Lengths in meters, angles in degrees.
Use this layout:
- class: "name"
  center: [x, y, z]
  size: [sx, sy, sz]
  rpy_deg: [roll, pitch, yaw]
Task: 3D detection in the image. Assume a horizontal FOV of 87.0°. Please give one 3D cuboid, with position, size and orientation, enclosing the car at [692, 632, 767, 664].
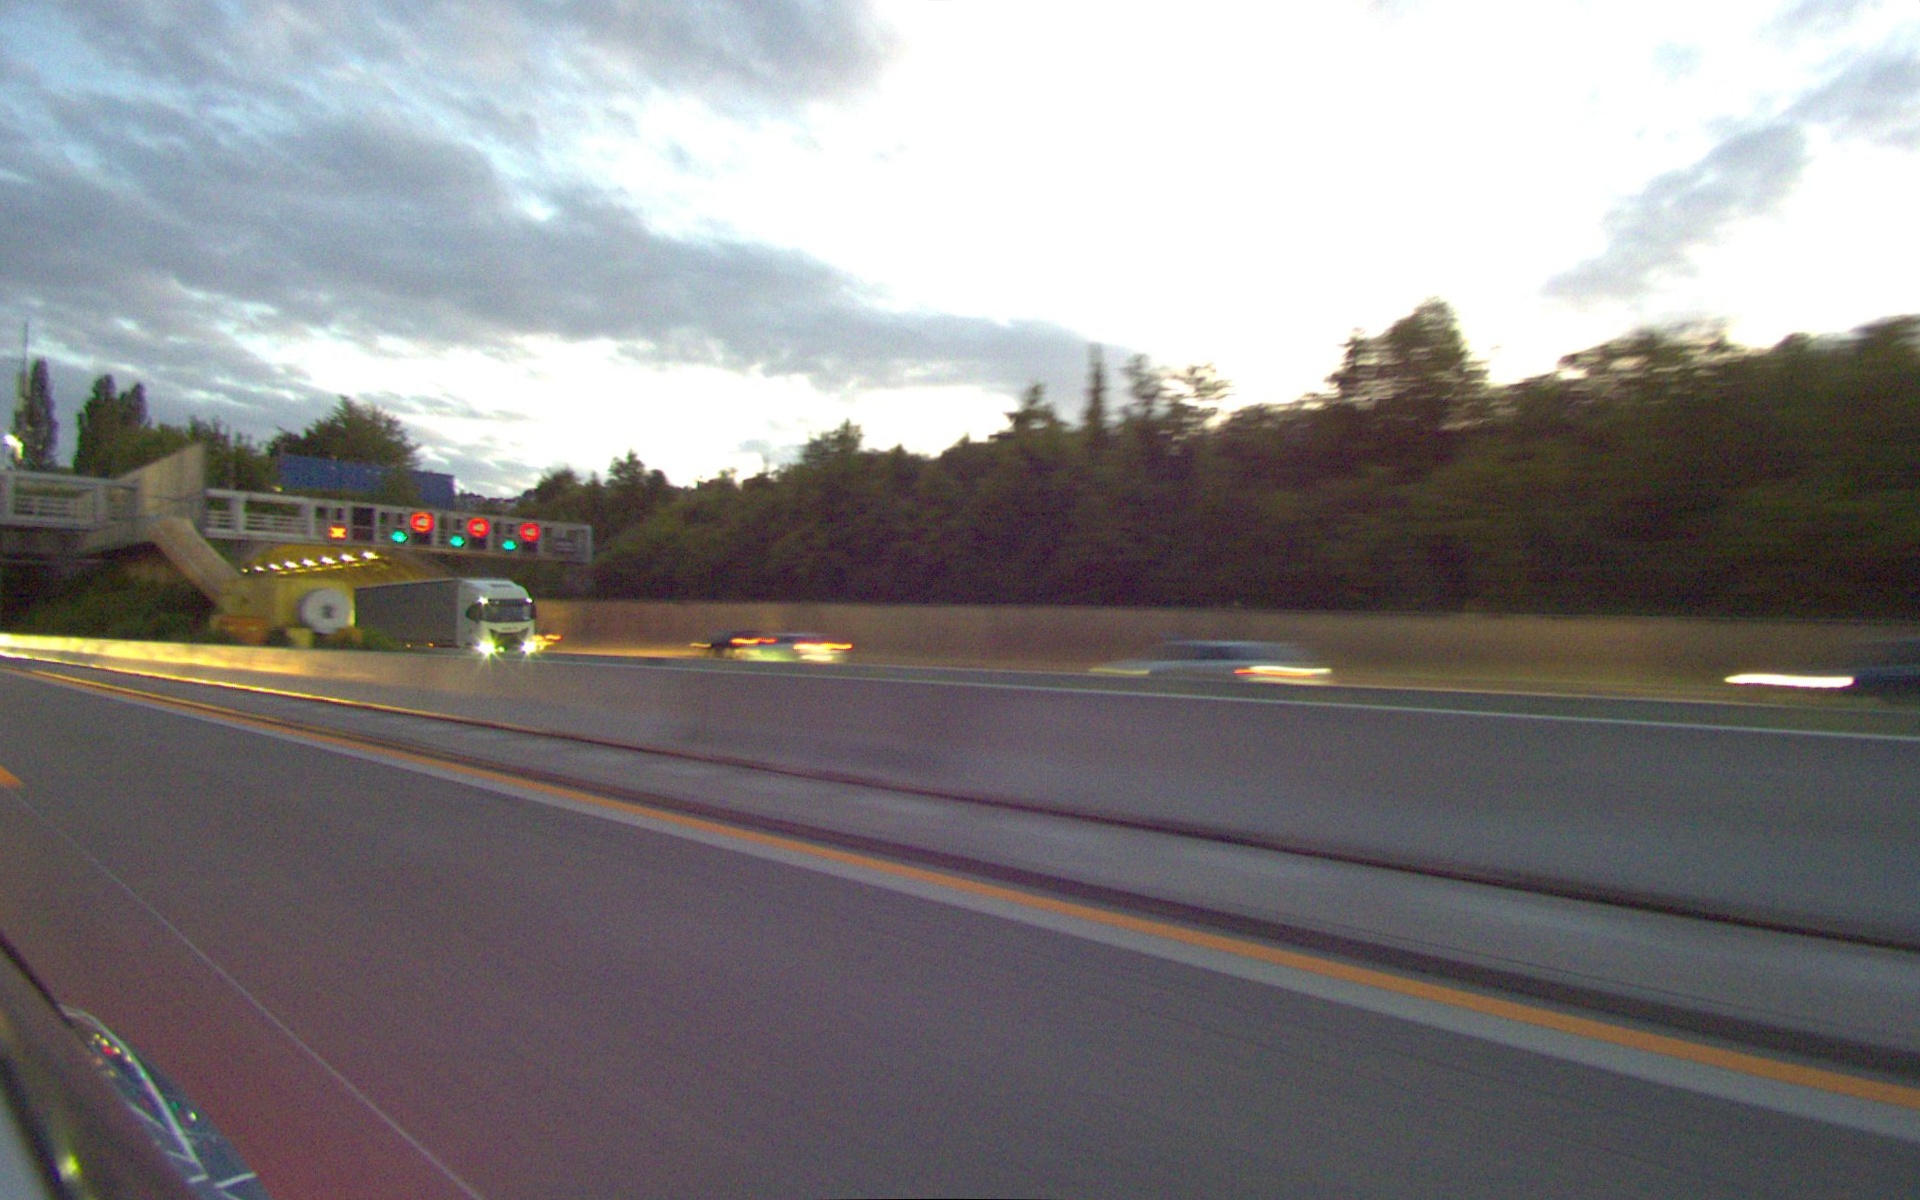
- class: "car"
  center: [-11.470, 2.353, 50.220]
  size: [4.226, 1.481, 1.559]
  rpy_deg: [-1, -2, 43]

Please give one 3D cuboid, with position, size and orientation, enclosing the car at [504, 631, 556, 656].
- class: "car"
  center: [-27.897, 2.808, 65.587]
  size: [4.095, 1.481, 1.559]
  rpy_deg: [-1, 0, 43]

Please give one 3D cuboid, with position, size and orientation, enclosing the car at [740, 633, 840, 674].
- class: "car"
  center: [-7.120, 2.190, 42.086]
  size: [4.648, 1.481, 1.654]
  rpy_deg: [-1, 0, 44]

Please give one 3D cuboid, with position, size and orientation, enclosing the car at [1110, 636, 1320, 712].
- class: "car"
  center: [6.363, 1.790, 25.638]
  size: [4.875, 1.600, 1.788]
  rpy_deg: [-1, 0, 41]

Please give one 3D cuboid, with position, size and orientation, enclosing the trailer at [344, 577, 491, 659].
- class: "trailer"
  center: [-28.282, 0.889, 52.367]
  size: [11.831, 3.811, 2.769]
  rpy_deg: [-1, 0, 42]

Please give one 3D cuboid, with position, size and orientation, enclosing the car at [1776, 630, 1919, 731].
- class: "car"
  center: [18.097, 1.481, 18.664]
  size: [4.668, 1.735, 1.732]
  rpy_deg: [-1, 0, 41]

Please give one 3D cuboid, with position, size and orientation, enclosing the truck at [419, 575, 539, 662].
- class: "truck"
  center: [-22.501, 0.805, 47.198]
  size: [6.300, 3.803, 2.773]
  rpy_deg: [-1, 0, 41]
